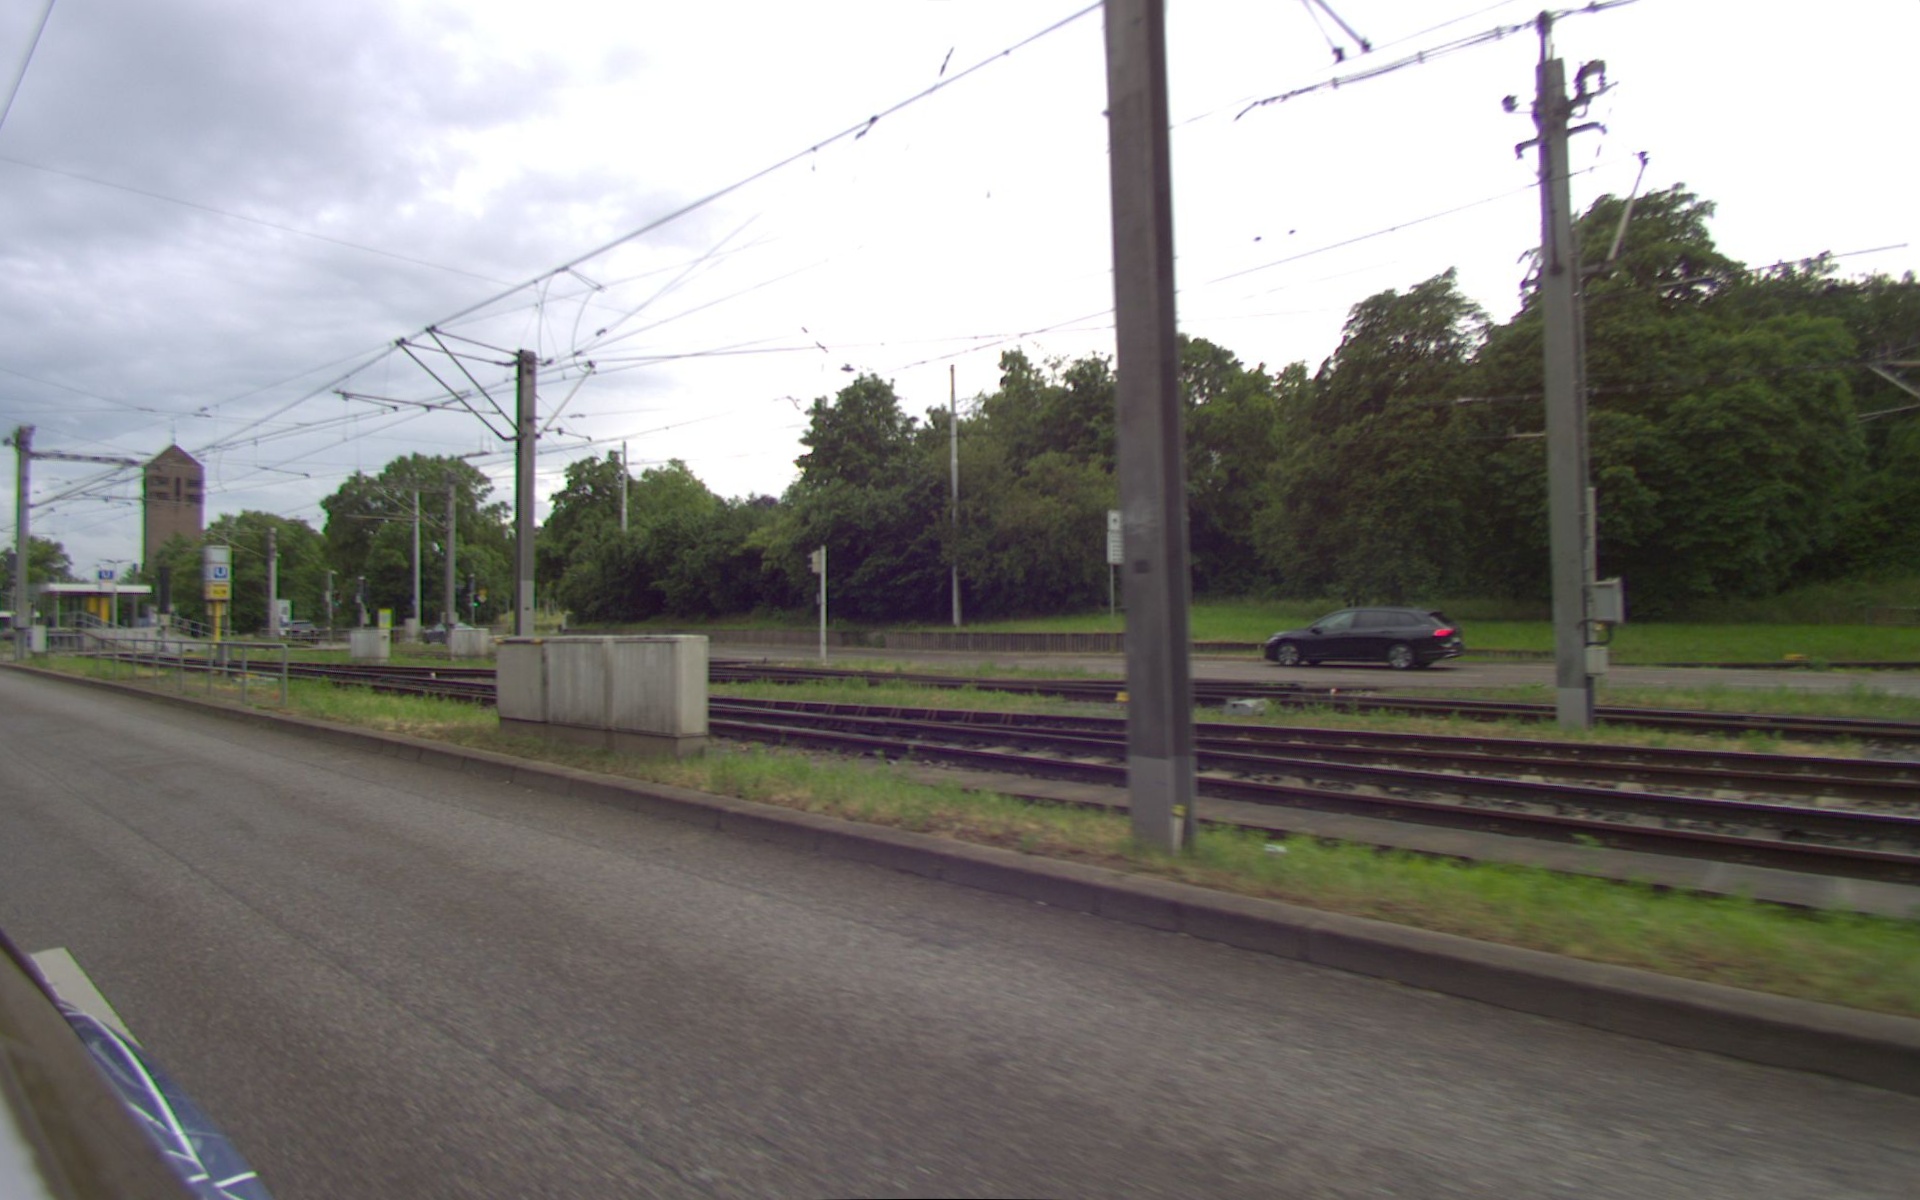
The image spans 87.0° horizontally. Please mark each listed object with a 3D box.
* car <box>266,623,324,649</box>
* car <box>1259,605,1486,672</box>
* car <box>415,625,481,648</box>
[{"bbox_3d":[-46.000,2.466,69.949,4.859,1.752,2.062,-2,-2,40],"label":"car"},{"bbox_3d":[9.833,0.900,24.335,4.678,1.458,1.907,-2,-2,40],"label":"car"},{"bbox_3d":[-30.083,2.120,59.418,4.471,1.271,1.907,-2,-2,40],"label":"car"}]
